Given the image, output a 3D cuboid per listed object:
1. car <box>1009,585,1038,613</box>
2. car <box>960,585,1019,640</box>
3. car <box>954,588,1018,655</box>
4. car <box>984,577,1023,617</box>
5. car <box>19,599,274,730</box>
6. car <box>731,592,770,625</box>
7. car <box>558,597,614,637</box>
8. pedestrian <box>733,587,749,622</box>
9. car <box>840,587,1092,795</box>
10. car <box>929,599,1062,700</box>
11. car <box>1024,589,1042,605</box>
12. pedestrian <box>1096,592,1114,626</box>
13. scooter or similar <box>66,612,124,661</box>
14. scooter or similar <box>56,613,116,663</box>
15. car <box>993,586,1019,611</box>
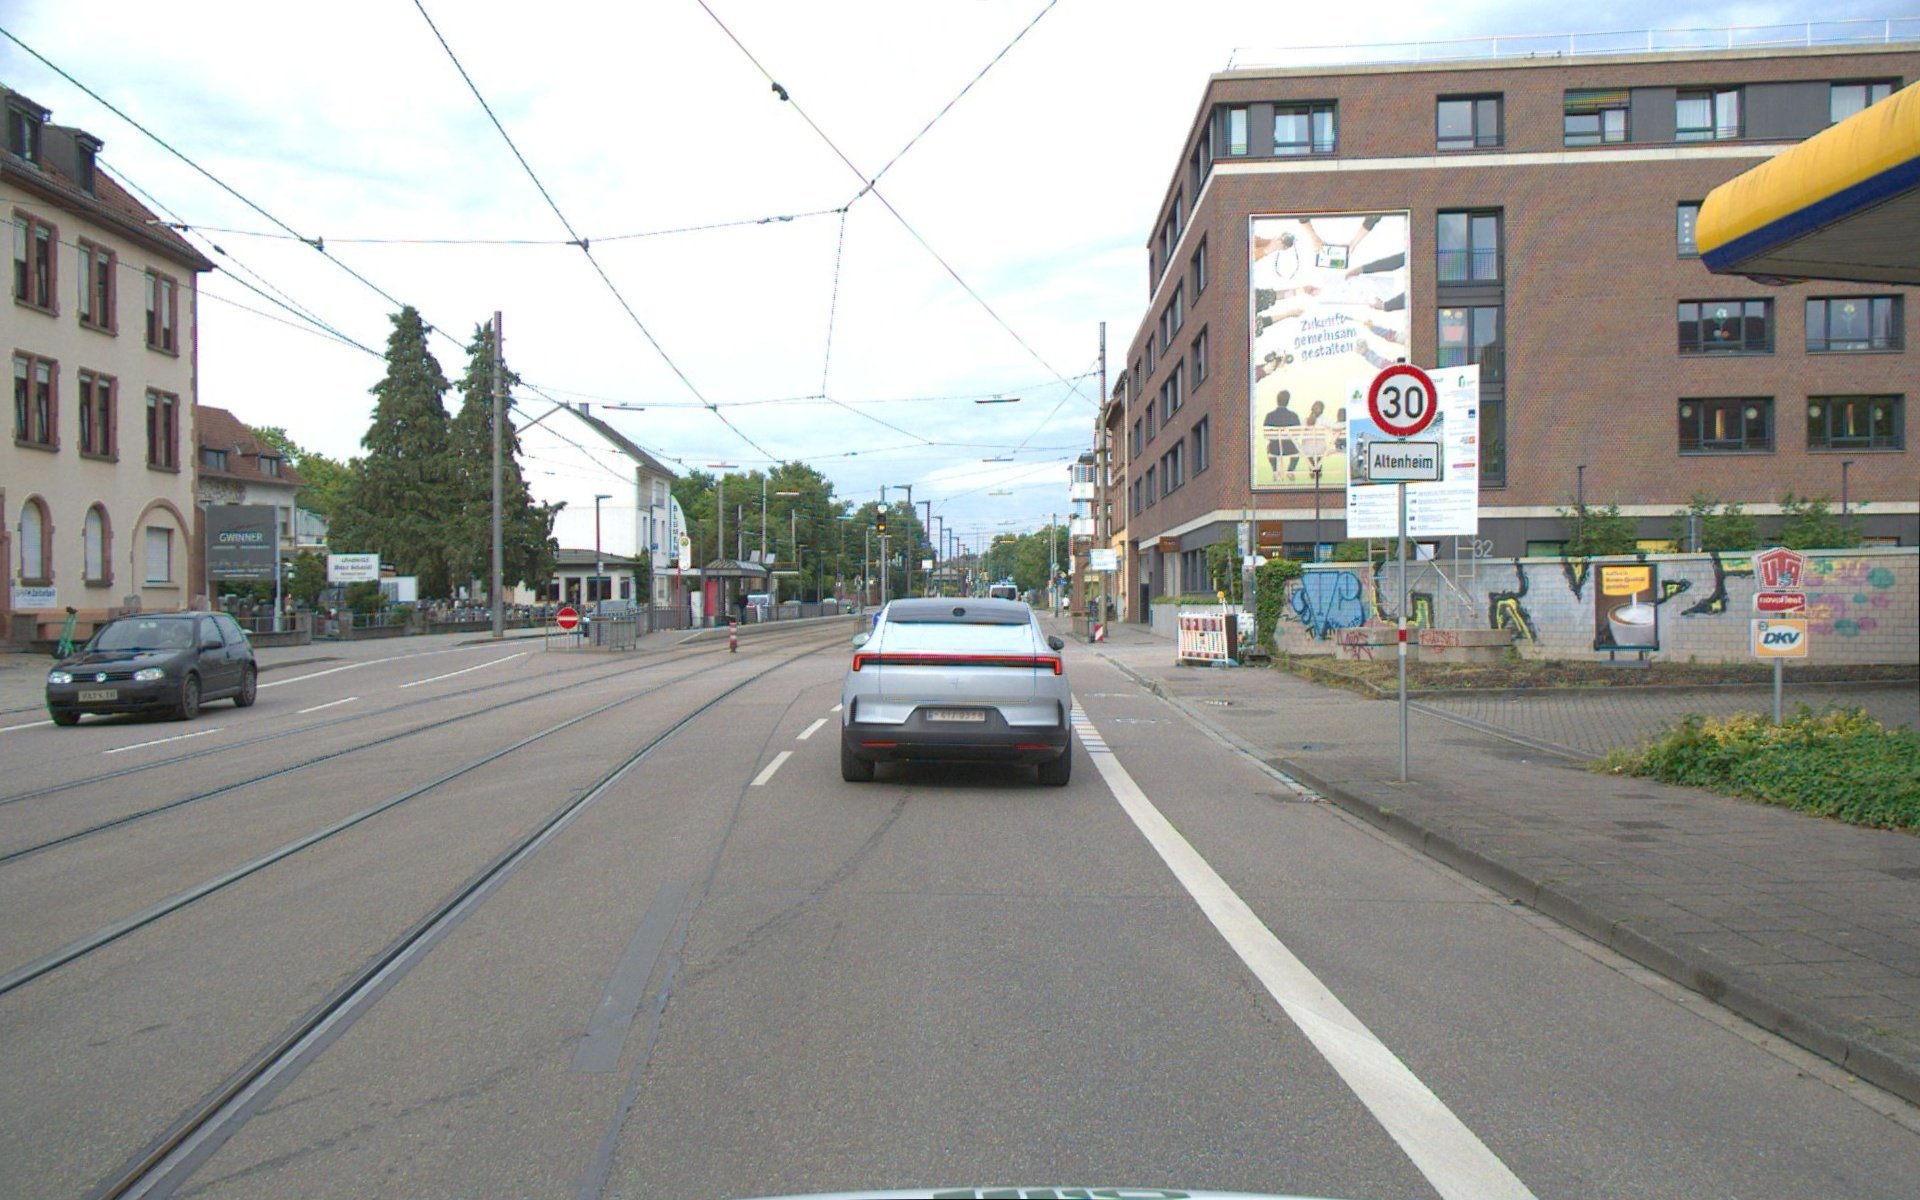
[{"bbox_3d":[4.782,-0.069,125.714,1.953,2.049,3.999,0,0,-1],"label":"car"},{"bbox_3d":[1.015,0.423,59.532,1.953,1.847,3.999,-1,0,-1],"label":"car"},{"bbox_3d":[0.746,0.555,44.655,1.646,1.717,3.824,0,0,2],"label":"car"},{"bbox_3d":[2.679,-0.184,103.433,2.181,2.444,5.121,0,0,-2],"label":"car"},{"bbox_3d":[-11.028,0.818,22.755,1.756,1.556,4.136,-2,0,-6],"label":"car"},{"bbox_3d":[-13.229,0.534,104.895,1.846,2.023,4.525,-1,0,0],"label":"car"},{"bbox_3d":[-15.072,0.662,66.869,1.869,1.498,4.809,-2,0,-9],"label":"car"},{"bbox_3d":[-10.442,0.215,78.858,0.602,1.694,0.698,0,-1,5],"label":"pedestrian"},{"bbox_3d":[-0.036,0.730,14.912,1.959,1.608,3.998,1,-1,-3],"label":"car"},{"bbox_3d":[0.550,0.729,26.510,1.952,1.444,4.000,-1,0,0],"label":"car"},{"bbox_3d":[11.530,-0.455,261.335,2.749,2.549,5.723,0,0,2],"label":"car"},{"bbox_3d":[8.442,0.519,96.267,0.940,1.882,0.976,-2,1,8],"label":"pedestrian"},{"bbox_3d":[-20.127,0.853,38.500,1.163,1.121,0.522,1,-1,-32],"label":"scooter or similar"},{"bbox_3d":[-19.913,0.851,37.690,1.163,1.121,0.522,1,-1,-32],"label":"scooter or similar"},{"bbox_3d":[3.760,-0.098,136.137,1.953,2.049,3.999,0,0,-1],"label":"car"}]
